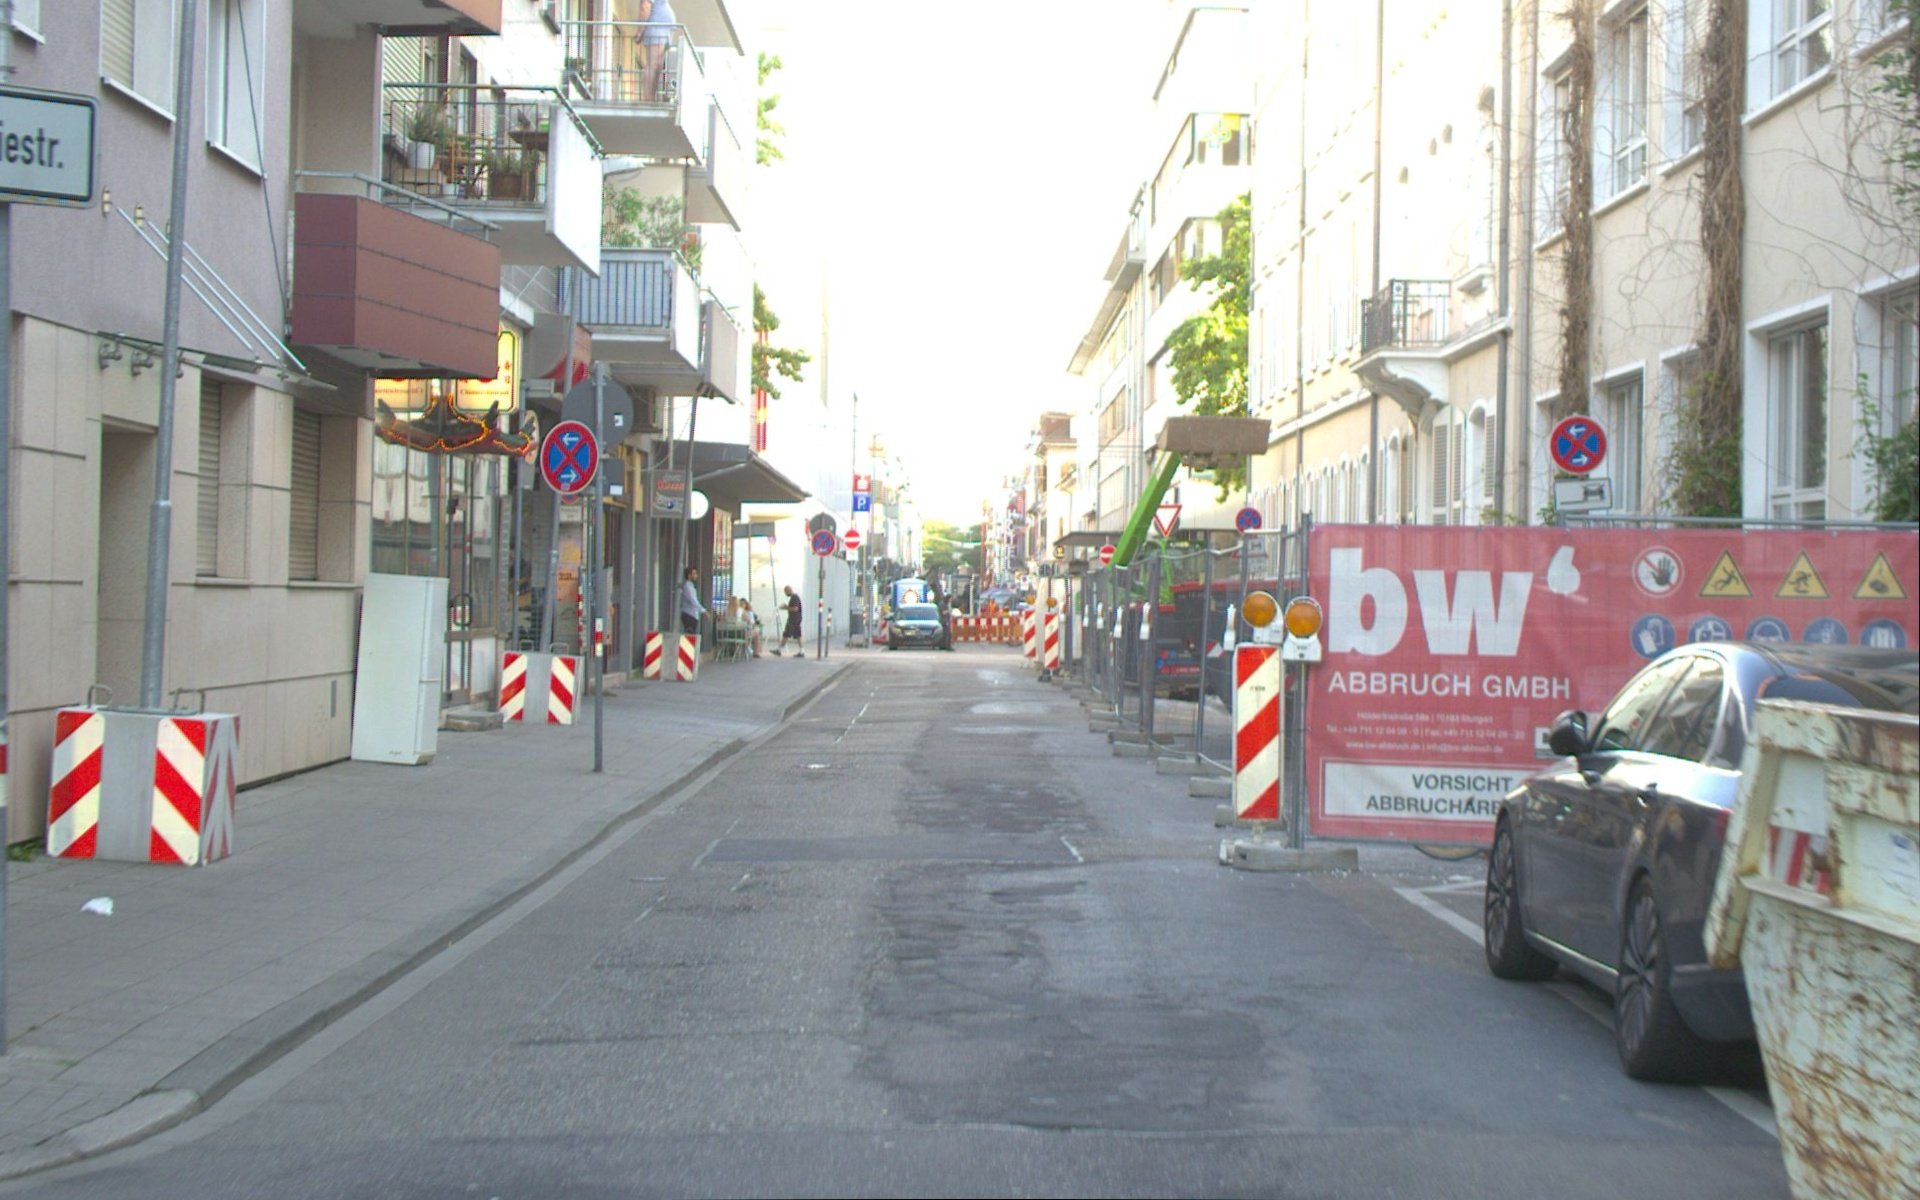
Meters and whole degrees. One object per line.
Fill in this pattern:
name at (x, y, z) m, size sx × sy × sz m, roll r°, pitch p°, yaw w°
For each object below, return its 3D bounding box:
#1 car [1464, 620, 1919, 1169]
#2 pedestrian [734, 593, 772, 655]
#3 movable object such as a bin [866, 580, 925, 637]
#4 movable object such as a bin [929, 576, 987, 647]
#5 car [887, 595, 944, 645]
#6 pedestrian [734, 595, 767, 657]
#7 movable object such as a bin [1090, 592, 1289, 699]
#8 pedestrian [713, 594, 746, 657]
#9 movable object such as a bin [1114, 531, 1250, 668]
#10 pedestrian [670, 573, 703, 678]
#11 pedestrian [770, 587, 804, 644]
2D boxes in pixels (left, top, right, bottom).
car at (3.010, 0.872, 11.881) m, size 1.787 × 1.466 × 4.446 m, roll 3°, pitch 0°, yaw 0°
pedestrian at (-4.422, 0.506, 73.335) m, size 0.702 × 1.271 × 0.713 m, roll 3°, pitch 0°, yaw 0°
movable object such as a bin at (-2.290, 0.300, 122.551) m, size 1.993 × 2.007 × 4.000 m, roll 0°, pitch 0°, yaw 0°
movable object such as a bin at (-0.083, 0.426, 132.800) m, size 2.156 × 2.655 × 4.572 m, roll 1°, pitch 0°, yaw 0°
car at (-1.418, 0.616, 107.565) m, size 1.629 × 1.545 × 3.143 m, roll 0°, pitch 0°, yaw -3°
pedestrian at (-4.417, 0.552, 72.478) m, size 0.573 × 1.271 × 0.713 m, roll 3°, pitch 0°, yaw 0°
movable object such as a bin at (3.840, 0.728, 59.251) m, size 2.735 × 1.633 × 7.553 m, roll 2°, pitch 0°, yaw -1°
pedestrian at (-4.780, 0.536, 71.382) m, size 0.573 × 1.271 × 0.713 m, roll 3°, pitch 0°, yaw 0°
movable object such as a bin at (4.714, -0.018, 73.710) m, size 2.605 × 2.829 × 4.450 m, roll 0°, pitch 0°, yaw 0°
pedestrian at (-4.826, 0.443, 60.653) m, size 0.530 × 1.828 × 0.563 m, roll 1°, pitch 0°, yaw -6°
pedestrian at (-3.914, 0.353, 77.894) m, size 0.711 × 1.271 × 0.704 m, roll 1°, pitch 0°, yaw 0°
